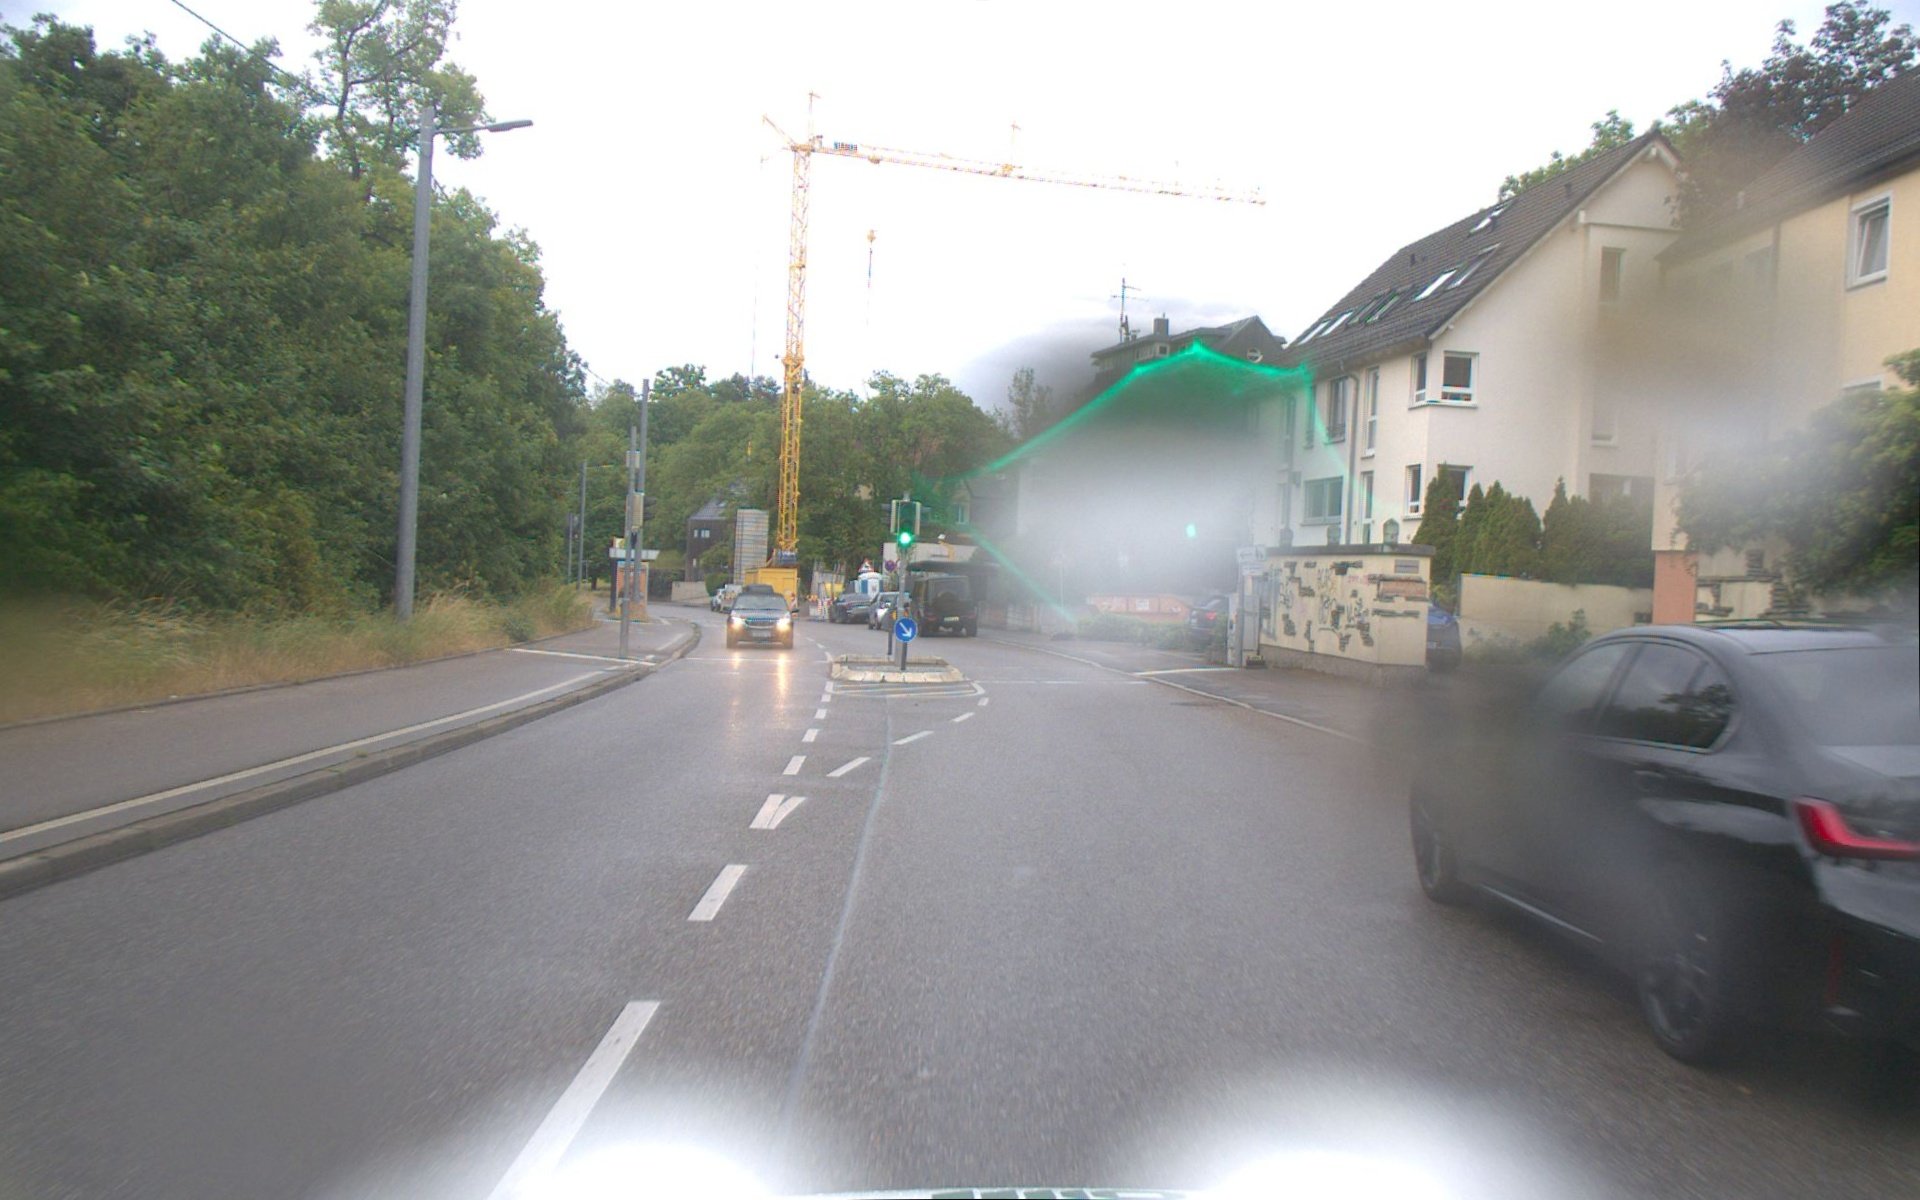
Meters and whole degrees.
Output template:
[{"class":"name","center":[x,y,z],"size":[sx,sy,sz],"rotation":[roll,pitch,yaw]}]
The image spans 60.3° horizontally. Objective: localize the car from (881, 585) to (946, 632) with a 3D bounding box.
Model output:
[{"class":"car","center":[-1.780,0.304,61.659],"size":[1.896,1.624,4.385],"rotation":[-1,0,-9]}]

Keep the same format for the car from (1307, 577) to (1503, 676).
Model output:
[{"class":"car","center":[8.374,0.480,31.555],"size":[1.897,1.623,4.332],"rotation":[4,-1,-10]}]

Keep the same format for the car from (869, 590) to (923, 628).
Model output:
[{"class":"car","center":[-2.578,0.350,65.905],"size":[1.643,1.483,3.376],"rotation":[0,0,-12]}]

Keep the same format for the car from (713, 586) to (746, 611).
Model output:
[{"class":"car","center":[-16.882,-0.123,120.947],"size":[1.717,1.735,4.480],"rotation":[-1,1,-17]}]

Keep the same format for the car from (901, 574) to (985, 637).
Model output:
[{"class":"car","center":[-0.629,0.161,56.731],"size":[1.958,2.049,4.942],"rotation":[-1,0,-12]}]

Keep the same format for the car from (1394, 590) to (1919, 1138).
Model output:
[{"class":"car","center":[3.254,0.749,6.765],"size":[1.716,1.468,4.600],"rotation":[1,-1,0]}]

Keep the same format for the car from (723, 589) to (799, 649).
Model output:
[{"class":"car","center":[-5.210,0.483,43.765],"size":[1.709,1.485,4.410],"rotation":[1,0,-4]}]

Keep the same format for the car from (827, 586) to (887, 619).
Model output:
[{"class":"car","center":[-5.001,0.103,79.909],"size":[1.900,1.447,4.816],"rotation":[2,0,-16]}]

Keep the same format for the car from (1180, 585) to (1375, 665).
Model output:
[{"class":"car","center":[7.795,0.610,40.780],"size":[4.248,1.623,1.988],"rotation":[4,-1,-9]}]
